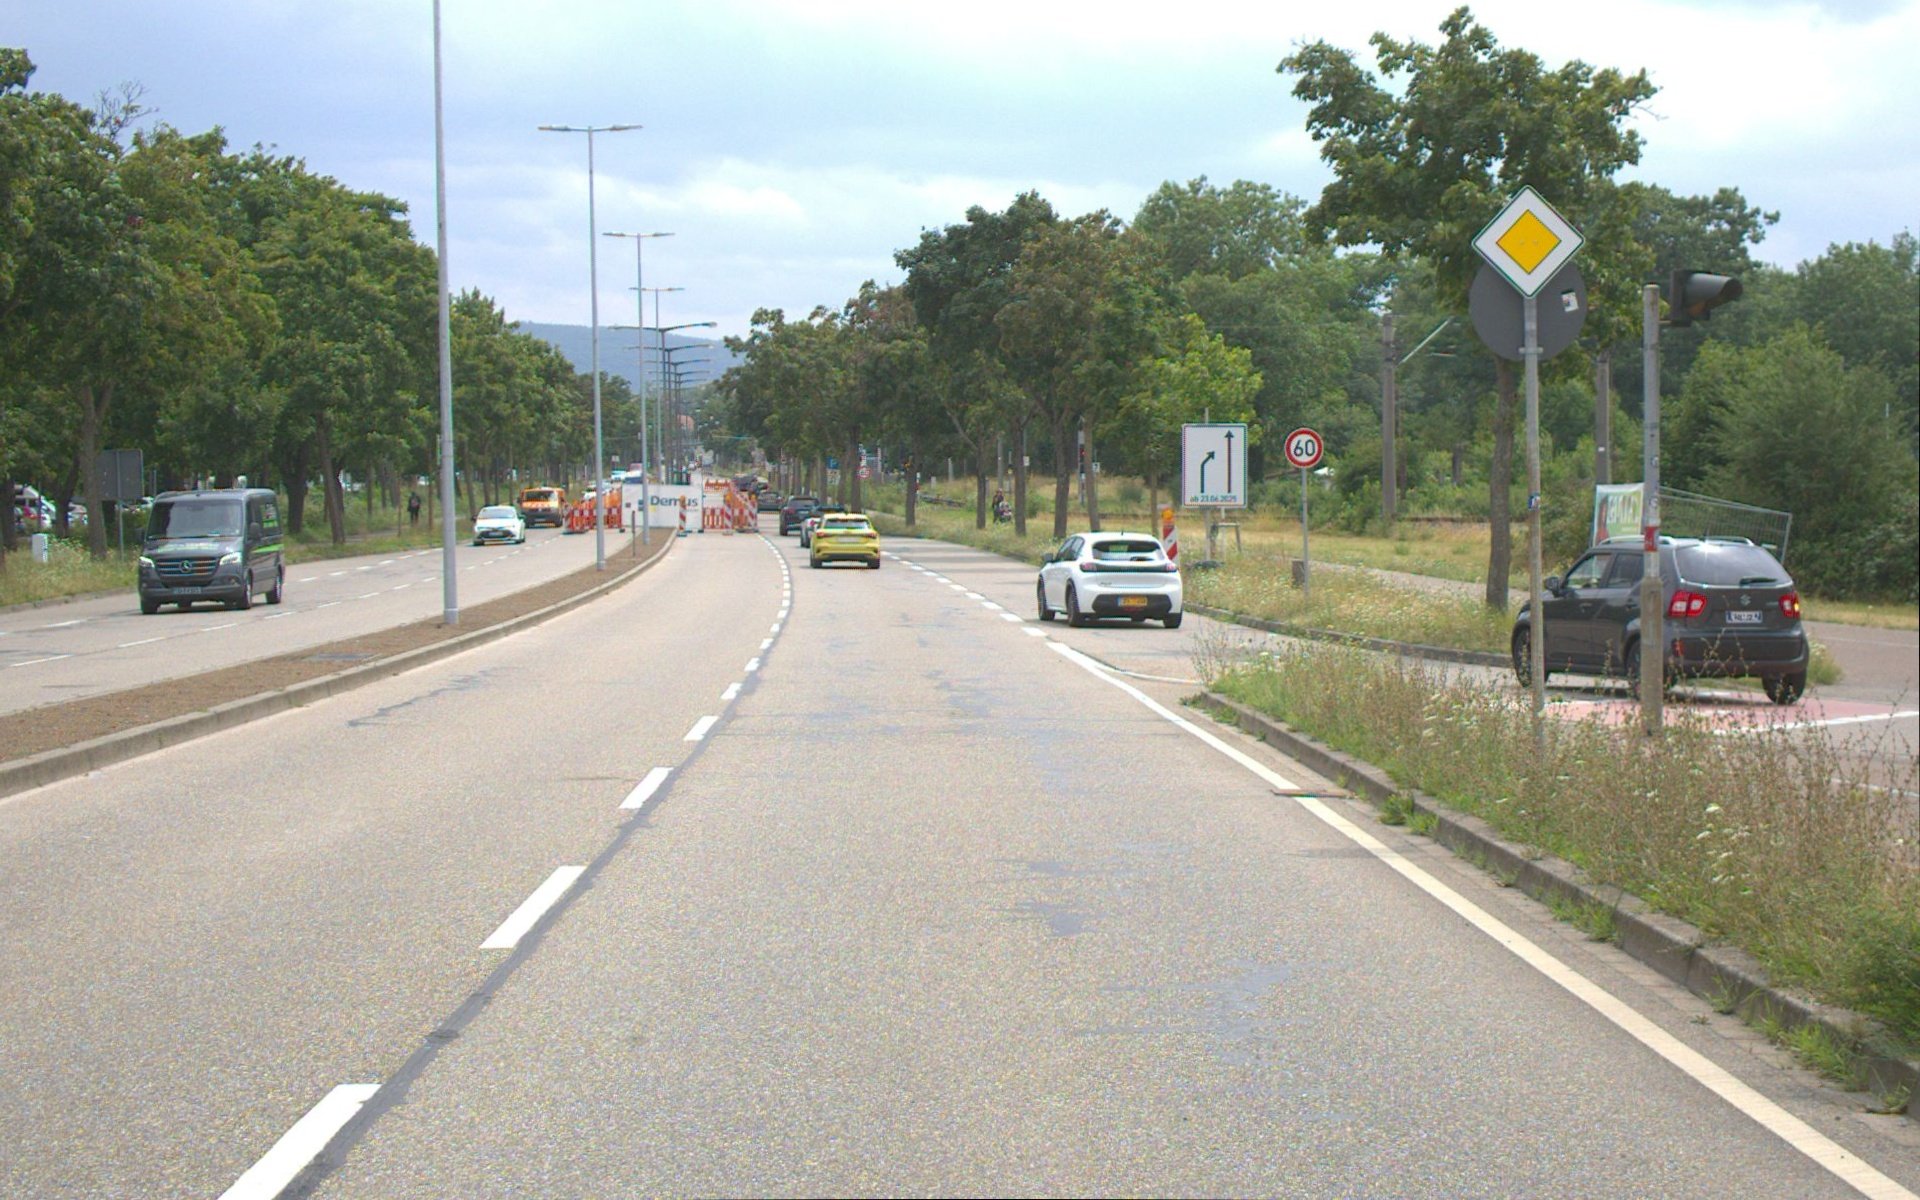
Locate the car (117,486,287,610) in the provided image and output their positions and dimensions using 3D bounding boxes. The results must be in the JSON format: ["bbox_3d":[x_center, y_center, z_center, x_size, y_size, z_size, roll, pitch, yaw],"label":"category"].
[{"bbox_3d":[-14.332,-1.047,65.336,2.095,2.193,6.005,-2,2,-2],"label":"car"}]

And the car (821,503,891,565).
[{"bbox_3d":[-2.762,-1.770,91.067,1.793,1.556,4.001,0,2,-2],"label":"car"}]

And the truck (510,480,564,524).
[{"bbox_3d":[-20.656,-4.820,168.193,2.088,1.987,6.040,-2,3,-3],"label":"truck"}]

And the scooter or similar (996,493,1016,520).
[{"bbox_3d":[1.875,-3.847,141.324,0.681,1.126,0.934,-1,2,-8],"label":"scooter or similar"}]

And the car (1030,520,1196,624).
[{"bbox_3d":[2.342,-0.462,53.463,1.766,1.459,4.002,-1,2,-10],"label":"car"}]

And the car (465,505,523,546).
[{"bbox_3d":[-17.519,-2.821,129.440,1.716,1.415,4.161,-2,3,-2],"label":"car"}]

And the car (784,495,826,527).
[{"bbox_3d":[-6.326,-3.659,140.839,1.667,1.265,4.001,0,2,-2],"label":"car"}]

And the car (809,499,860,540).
[{"bbox_3d":[-4.148,-2.656,113.526,1.667,1.265,4.001,0,2,-2],"label":"car"}]

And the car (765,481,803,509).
[{"bbox_3d":[-10.991,-6.596,214.858,2.206,1.678,4.001,0,2,-1],"label":"car"}]

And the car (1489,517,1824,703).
[{"bbox_3d":[6.810,0.048,34.025,1.703,1.662,4.002,0,2,-13],"label":"car"}]

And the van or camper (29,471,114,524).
[{"bbox_3d":[-46.523,-5.365,180.084,3.986,2.746,1.927,0,2,-3],"label":"van or camper"}]

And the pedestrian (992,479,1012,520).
[{"bbox_3d":[1.738,-4.152,142.234,0.690,1.689,0.934,-1,2,-8],"label":"pedestrian"}]

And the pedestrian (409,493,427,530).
[{"bbox_3d":[-27.026,-4.428,171.373,0.690,1.832,0.651,-1,3,-25],"label":"pedestrian"}]
